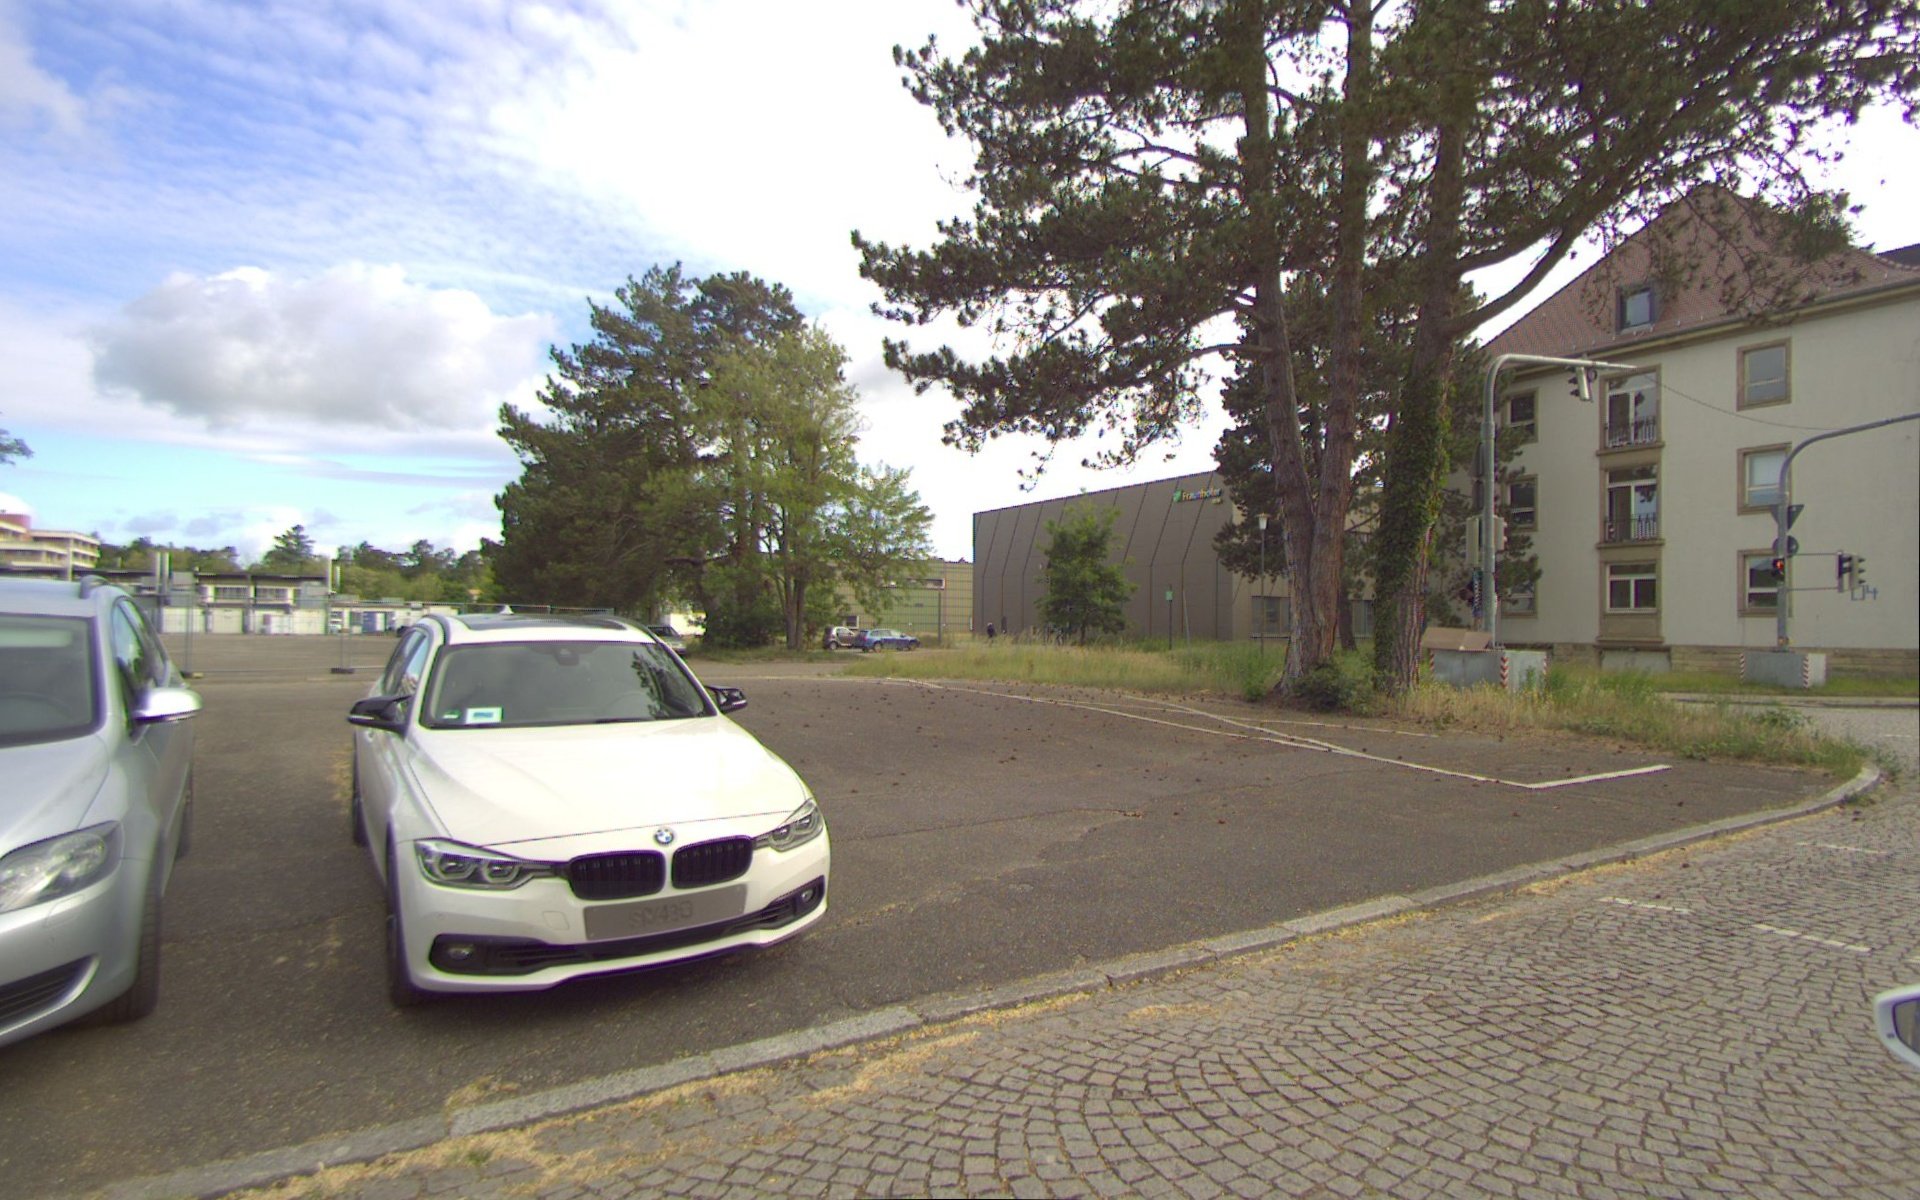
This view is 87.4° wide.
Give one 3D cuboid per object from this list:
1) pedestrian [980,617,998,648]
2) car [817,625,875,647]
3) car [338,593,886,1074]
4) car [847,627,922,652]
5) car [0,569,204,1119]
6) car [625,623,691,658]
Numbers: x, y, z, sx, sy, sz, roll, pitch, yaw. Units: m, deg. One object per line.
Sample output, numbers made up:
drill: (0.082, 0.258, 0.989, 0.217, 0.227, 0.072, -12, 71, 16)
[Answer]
pedestrian: (1.925, 2.181, 66.635, 0.890, 2.040, 0.914, 1, -2, -28)
car: (-8.127, 2.531, 71.479, 3.616, 1.449, 1.985, -1, -1, -30)
car: (-2.355, 0.765, 5.677, 1.783, 1.463, 4.618, 1, 1, -34)
car: (-4.860, 2.521, 64.813, 4.406, 1.449, 1.984, -1, -1, -30)
car: (-4.358, 0.663, 4.218, 1.707, 1.568, 3.960, 1, 1, -35)
car: (-12.856, 1.685, 42.639, 1.678, 1.410, 3.965, 2, -2, -32)
